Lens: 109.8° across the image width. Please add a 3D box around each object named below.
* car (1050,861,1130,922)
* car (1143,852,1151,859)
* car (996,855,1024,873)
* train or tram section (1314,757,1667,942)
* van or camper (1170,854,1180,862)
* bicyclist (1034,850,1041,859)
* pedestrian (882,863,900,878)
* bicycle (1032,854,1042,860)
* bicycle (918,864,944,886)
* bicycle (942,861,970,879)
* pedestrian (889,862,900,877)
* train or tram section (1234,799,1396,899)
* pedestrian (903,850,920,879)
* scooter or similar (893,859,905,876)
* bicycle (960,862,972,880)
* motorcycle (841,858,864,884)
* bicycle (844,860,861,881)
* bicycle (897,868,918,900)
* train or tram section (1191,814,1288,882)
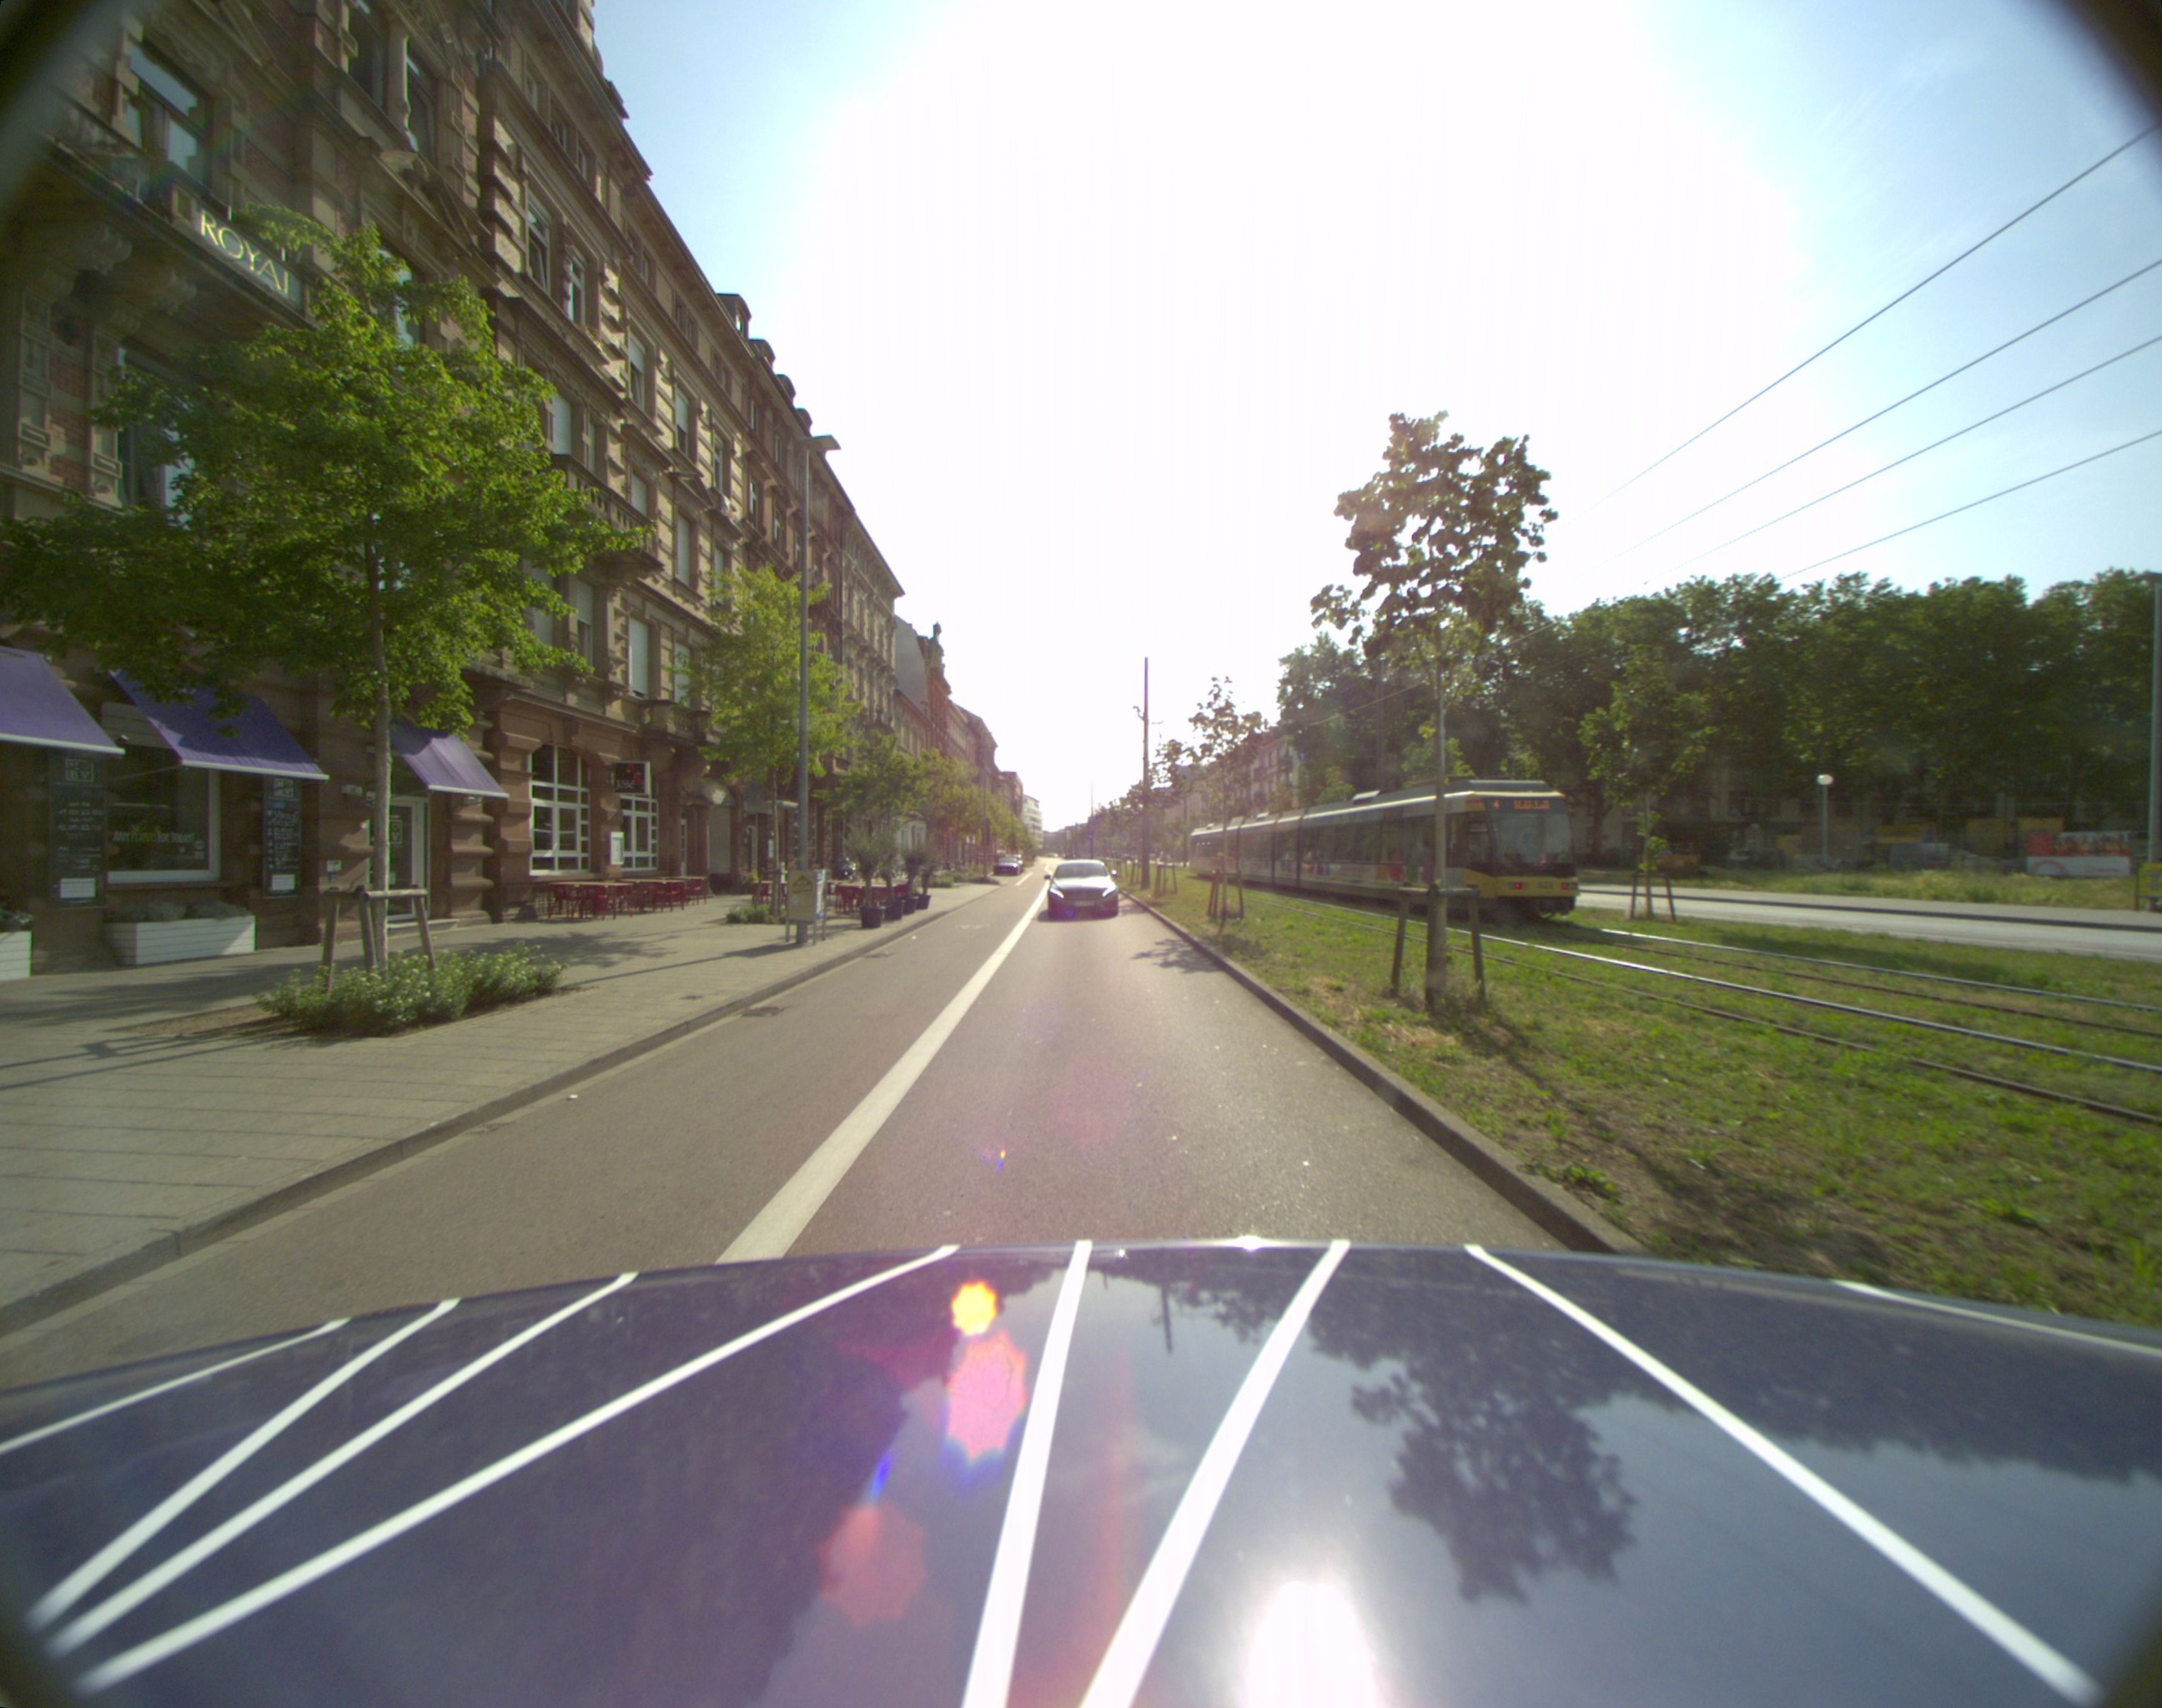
[{"bbox_3d":[0.150,0.925,20.591,1.907,1.384,4.235,-1,1,-2],"label":"car"},{"bbox_3d":[18.535,0.316,212.493,1.998,1.884,5.047,0,0,1],"label":"car"},{"bbox_3d":[-5.566,0.757,59.707,1.741,1.388,4.714,1,0,0],"label":"car"},{"bbox_3d":[9.800,-0.153,20.821,2.906,3.566,12.222,0,1,-1],"label":"train or tram section"},{"bbox_3d":[21.306,0.882,172.552,1.934,1.956,4.001,0,0,3],"label":"van or camper"},{"bbox_3d":[-7.248,0.013,125.428,0.929,1.473,0.587,2,0,34],"label":"bicyclist"},{"bbox_3d":[-11.227,0.964,44.867,0.880,0.871,0.711,2,0,-5],"label":"pedestrian"},{"bbox_3d":[-7.283,0.439,125.397,1.779,0.947,0.508,2,0,34],"label":"bicycle"},{"bbox_3d":[-7.264,1.008,36.842,0.505,1.054,1.715,2,0,13],"label":"bicycle"},{"bbox_3d":[-7.823,0.987,47.535,0.453,1.076,1.881,2,3,40],"label":"bicycle"},{"bbox_3d":[-11.422,0.956,46.558,0.572,0.850,0.457,2,0,-7],"label":"pedestrian"},{"bbox_3d":[9.595,-0.242,33.461,2.906,3.566,12.930,0,1,-1],"label":"train or tram section"},{"bbox_3d":[-9.957,0.601,44.646,0.794,1.686,0.824,2,0,-20],"label":"pedestrian"},{"bbox_3d":[-12.035,0.899,50.195,0.609,1.118,0.931,0,0,-1],"label":"scooter or similar"},{"bbox_3d":[-7.054,1.049,46.668,0.494,1.087,1.826,0,0,-1],"label":"bicycle"},{"bbox_3d":[-10.805,0.809,35.993,0.464,1.169,1.945,2,0,-1],"label":"motorcycle"},{"bbox_3d":[-11.335,0.800,37.682,0.397,1.012,1.255,0,1,4],"label":"bicycle"},{"bbox_3d":[-6.488,1.103,28.527,0.597,1.116,1.925,0,0,-8],"label":"bicycle"},{"bbox_3d":[9.233,-0.393,46.140,2.906,3.566,12.473,0,1,-2],"label":"train or tram section"}]
